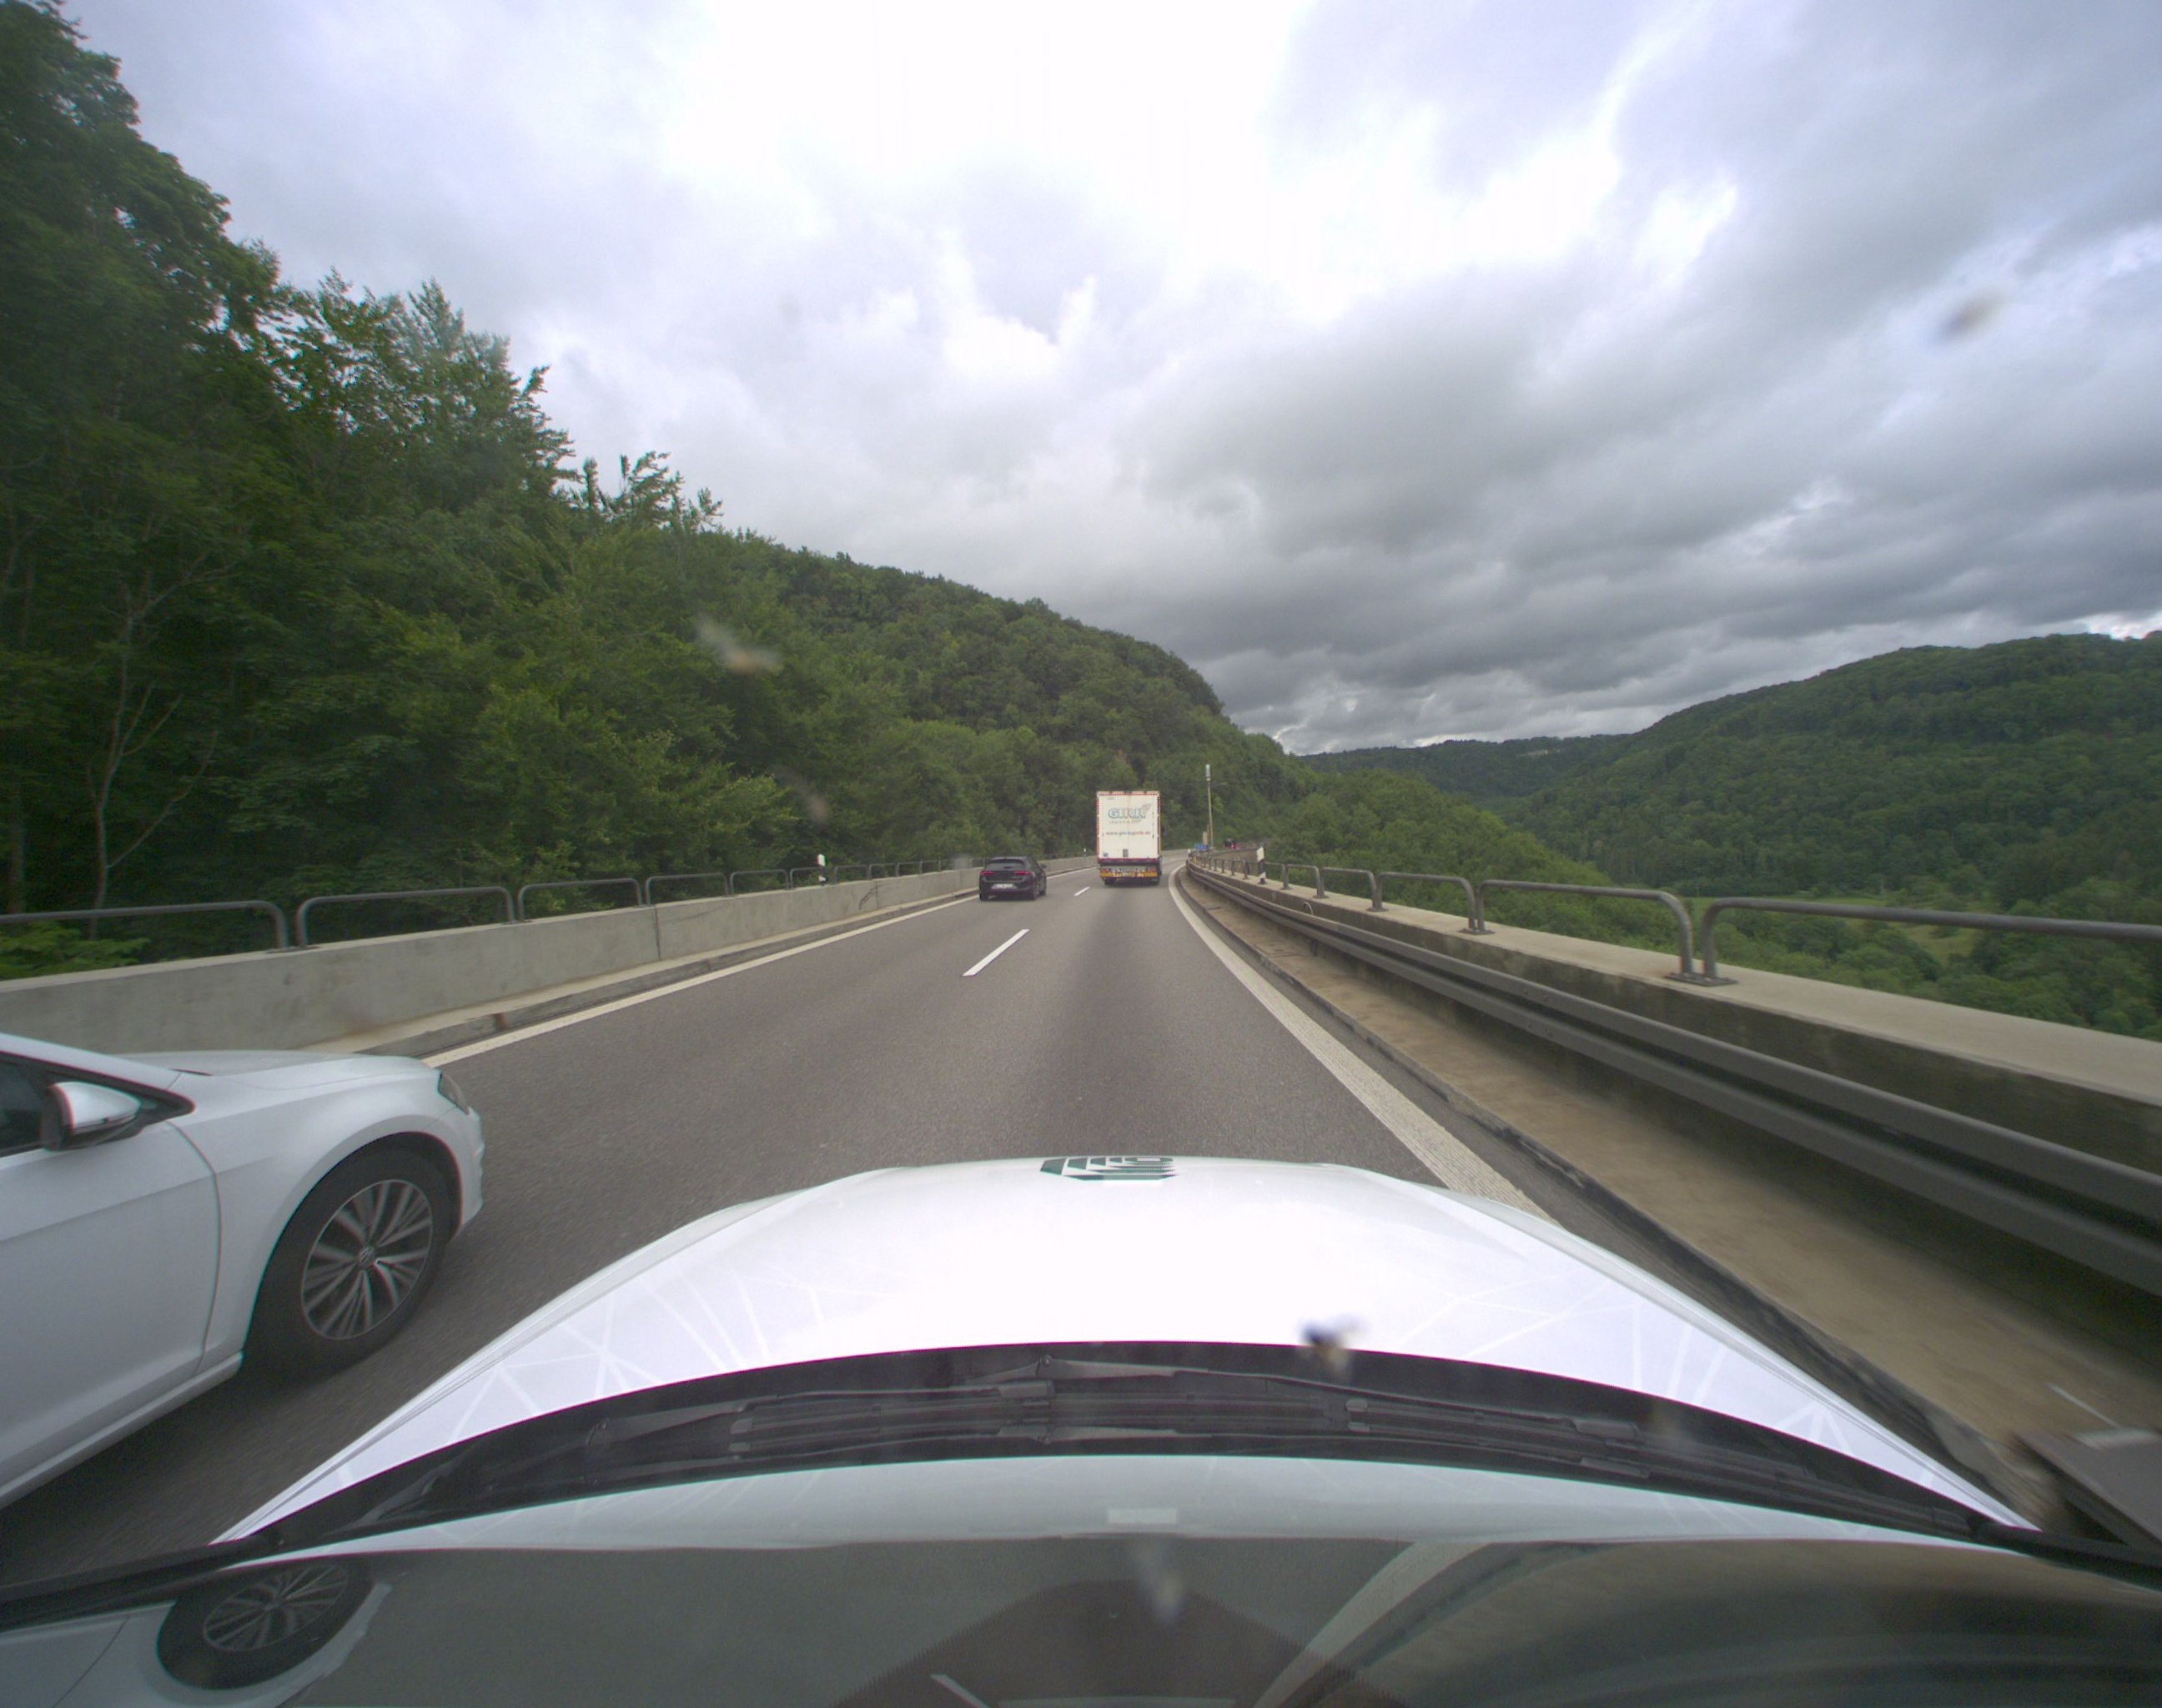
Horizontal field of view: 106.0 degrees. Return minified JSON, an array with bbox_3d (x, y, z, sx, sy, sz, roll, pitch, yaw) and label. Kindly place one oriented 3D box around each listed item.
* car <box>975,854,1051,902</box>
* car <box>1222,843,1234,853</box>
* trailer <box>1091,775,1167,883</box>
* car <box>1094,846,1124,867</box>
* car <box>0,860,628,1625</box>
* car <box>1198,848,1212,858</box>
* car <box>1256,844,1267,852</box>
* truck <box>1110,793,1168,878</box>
[{"bbox_3d":[-2.164,0.733,27.183,1.765,1.461,4.588,-1,0,5],"label":"car"},{"bbox_3d":[30.818,-1.305,170.650,1.978,2.014,4.017,-1,-1,16],"label":"car"},{"bbox_3d":[2.584,-0.970,38.960,2.798,4.302,12.267,-2,0,7],"label":"trailer"},{"bbox_3d":[2.251,0.213,63.623,1.873,1.510,4.428,-2,0,7],"label":"car"},{"bbox_3d":[-3.070,0.799,1.362,1.837,1.482,4.630,-2,0,2],"label":"car"},{"bbox_3d":[22.350,-0.182,146.908,1.978,1.794,4.016,-1,-1,16],"label":"car"},{"bbox_3d":[41.642,-1.412,187.960,1.977,1.794,4.020,-1,-1,20],"label":"car"},{"bbox_3d":[3.350,-0.944,45.473,2.799,4.302,6.270,-2,-1,7],"label":"truck"}]
